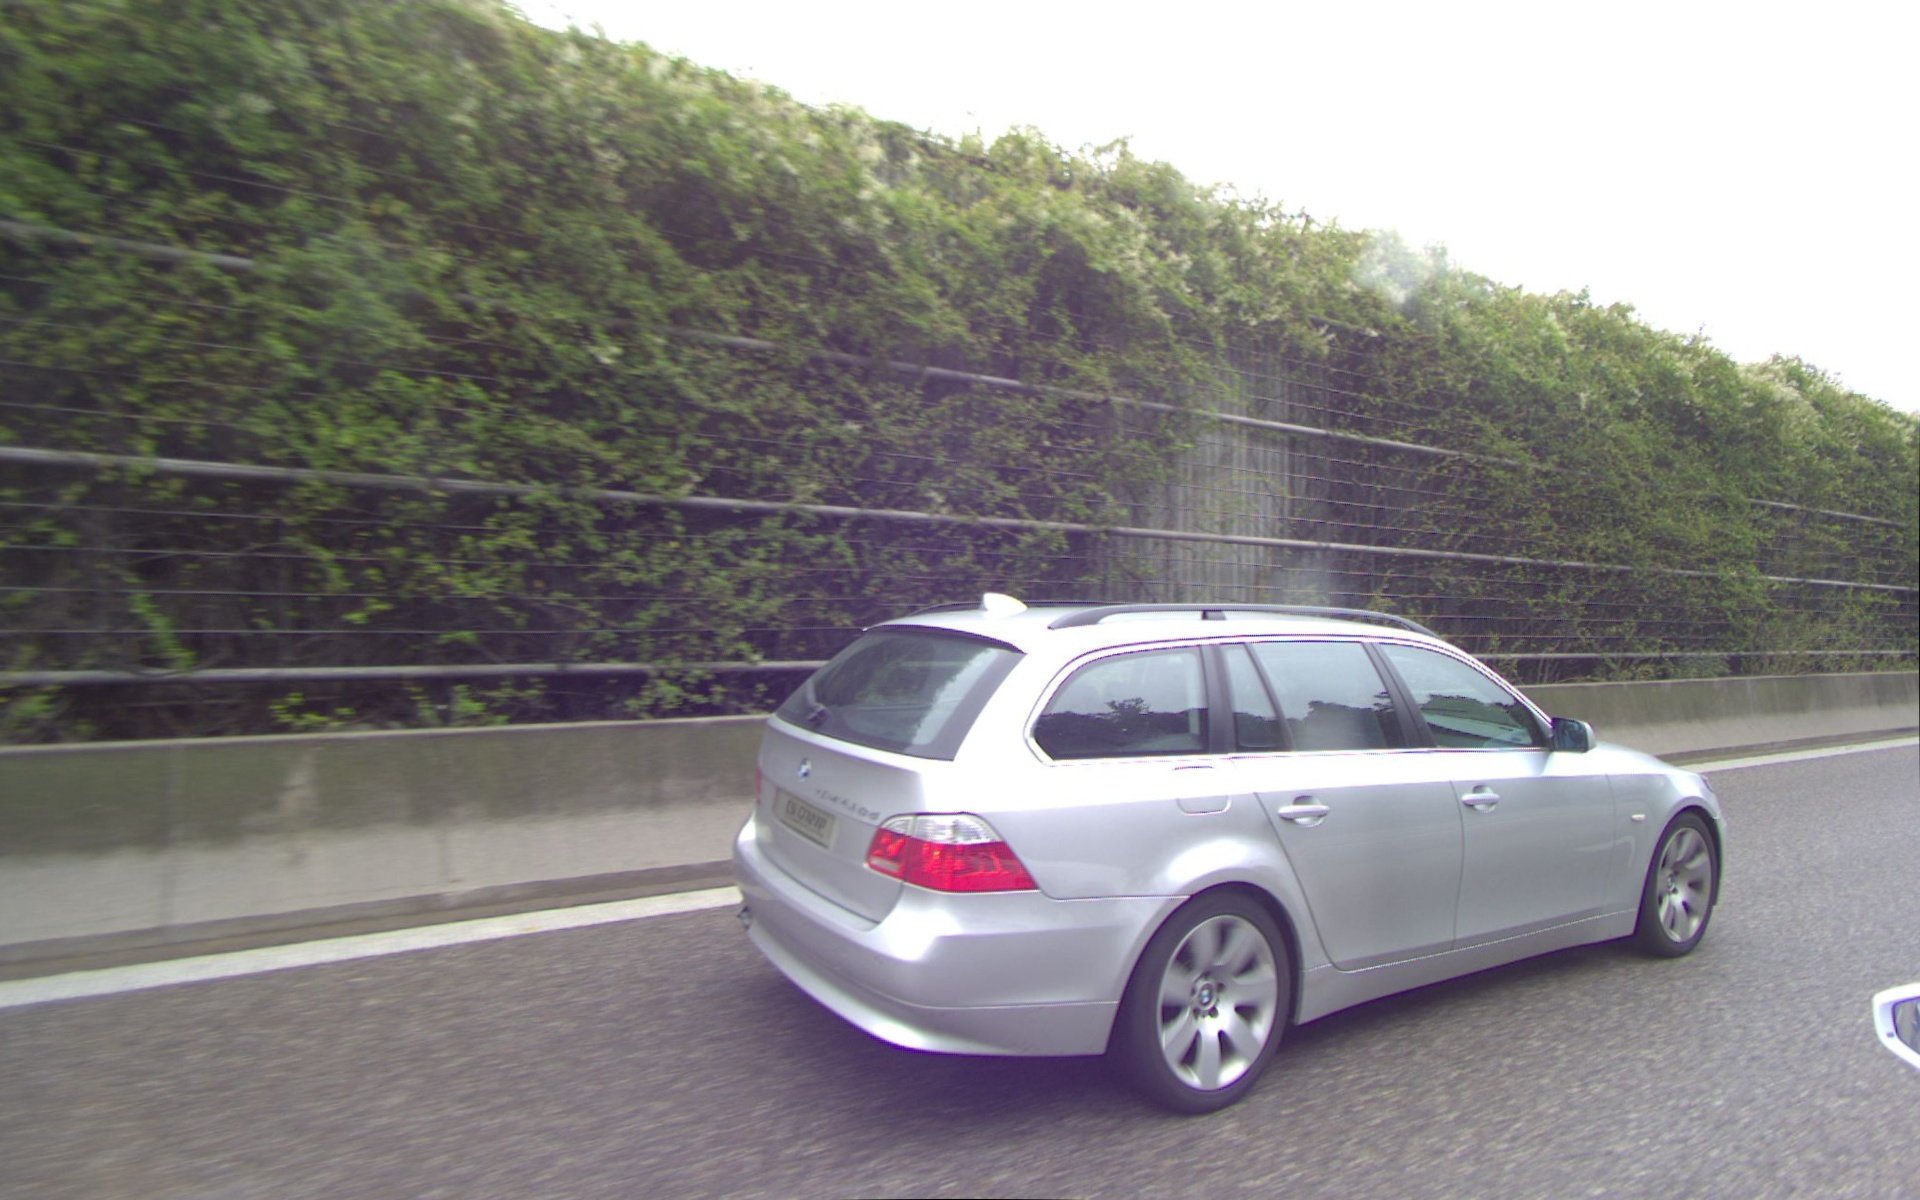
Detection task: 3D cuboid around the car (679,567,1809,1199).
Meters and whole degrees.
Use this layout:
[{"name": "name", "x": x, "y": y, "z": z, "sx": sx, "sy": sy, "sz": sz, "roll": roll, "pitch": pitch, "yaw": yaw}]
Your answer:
[{"name": "car", "x": 1.520, "y": 0.755, "z": 4.327, "sx": 4.972, "sy": 1.488, "sz": 1.711, "roll": 3, "pitch": -1, "yaw": -31}]
